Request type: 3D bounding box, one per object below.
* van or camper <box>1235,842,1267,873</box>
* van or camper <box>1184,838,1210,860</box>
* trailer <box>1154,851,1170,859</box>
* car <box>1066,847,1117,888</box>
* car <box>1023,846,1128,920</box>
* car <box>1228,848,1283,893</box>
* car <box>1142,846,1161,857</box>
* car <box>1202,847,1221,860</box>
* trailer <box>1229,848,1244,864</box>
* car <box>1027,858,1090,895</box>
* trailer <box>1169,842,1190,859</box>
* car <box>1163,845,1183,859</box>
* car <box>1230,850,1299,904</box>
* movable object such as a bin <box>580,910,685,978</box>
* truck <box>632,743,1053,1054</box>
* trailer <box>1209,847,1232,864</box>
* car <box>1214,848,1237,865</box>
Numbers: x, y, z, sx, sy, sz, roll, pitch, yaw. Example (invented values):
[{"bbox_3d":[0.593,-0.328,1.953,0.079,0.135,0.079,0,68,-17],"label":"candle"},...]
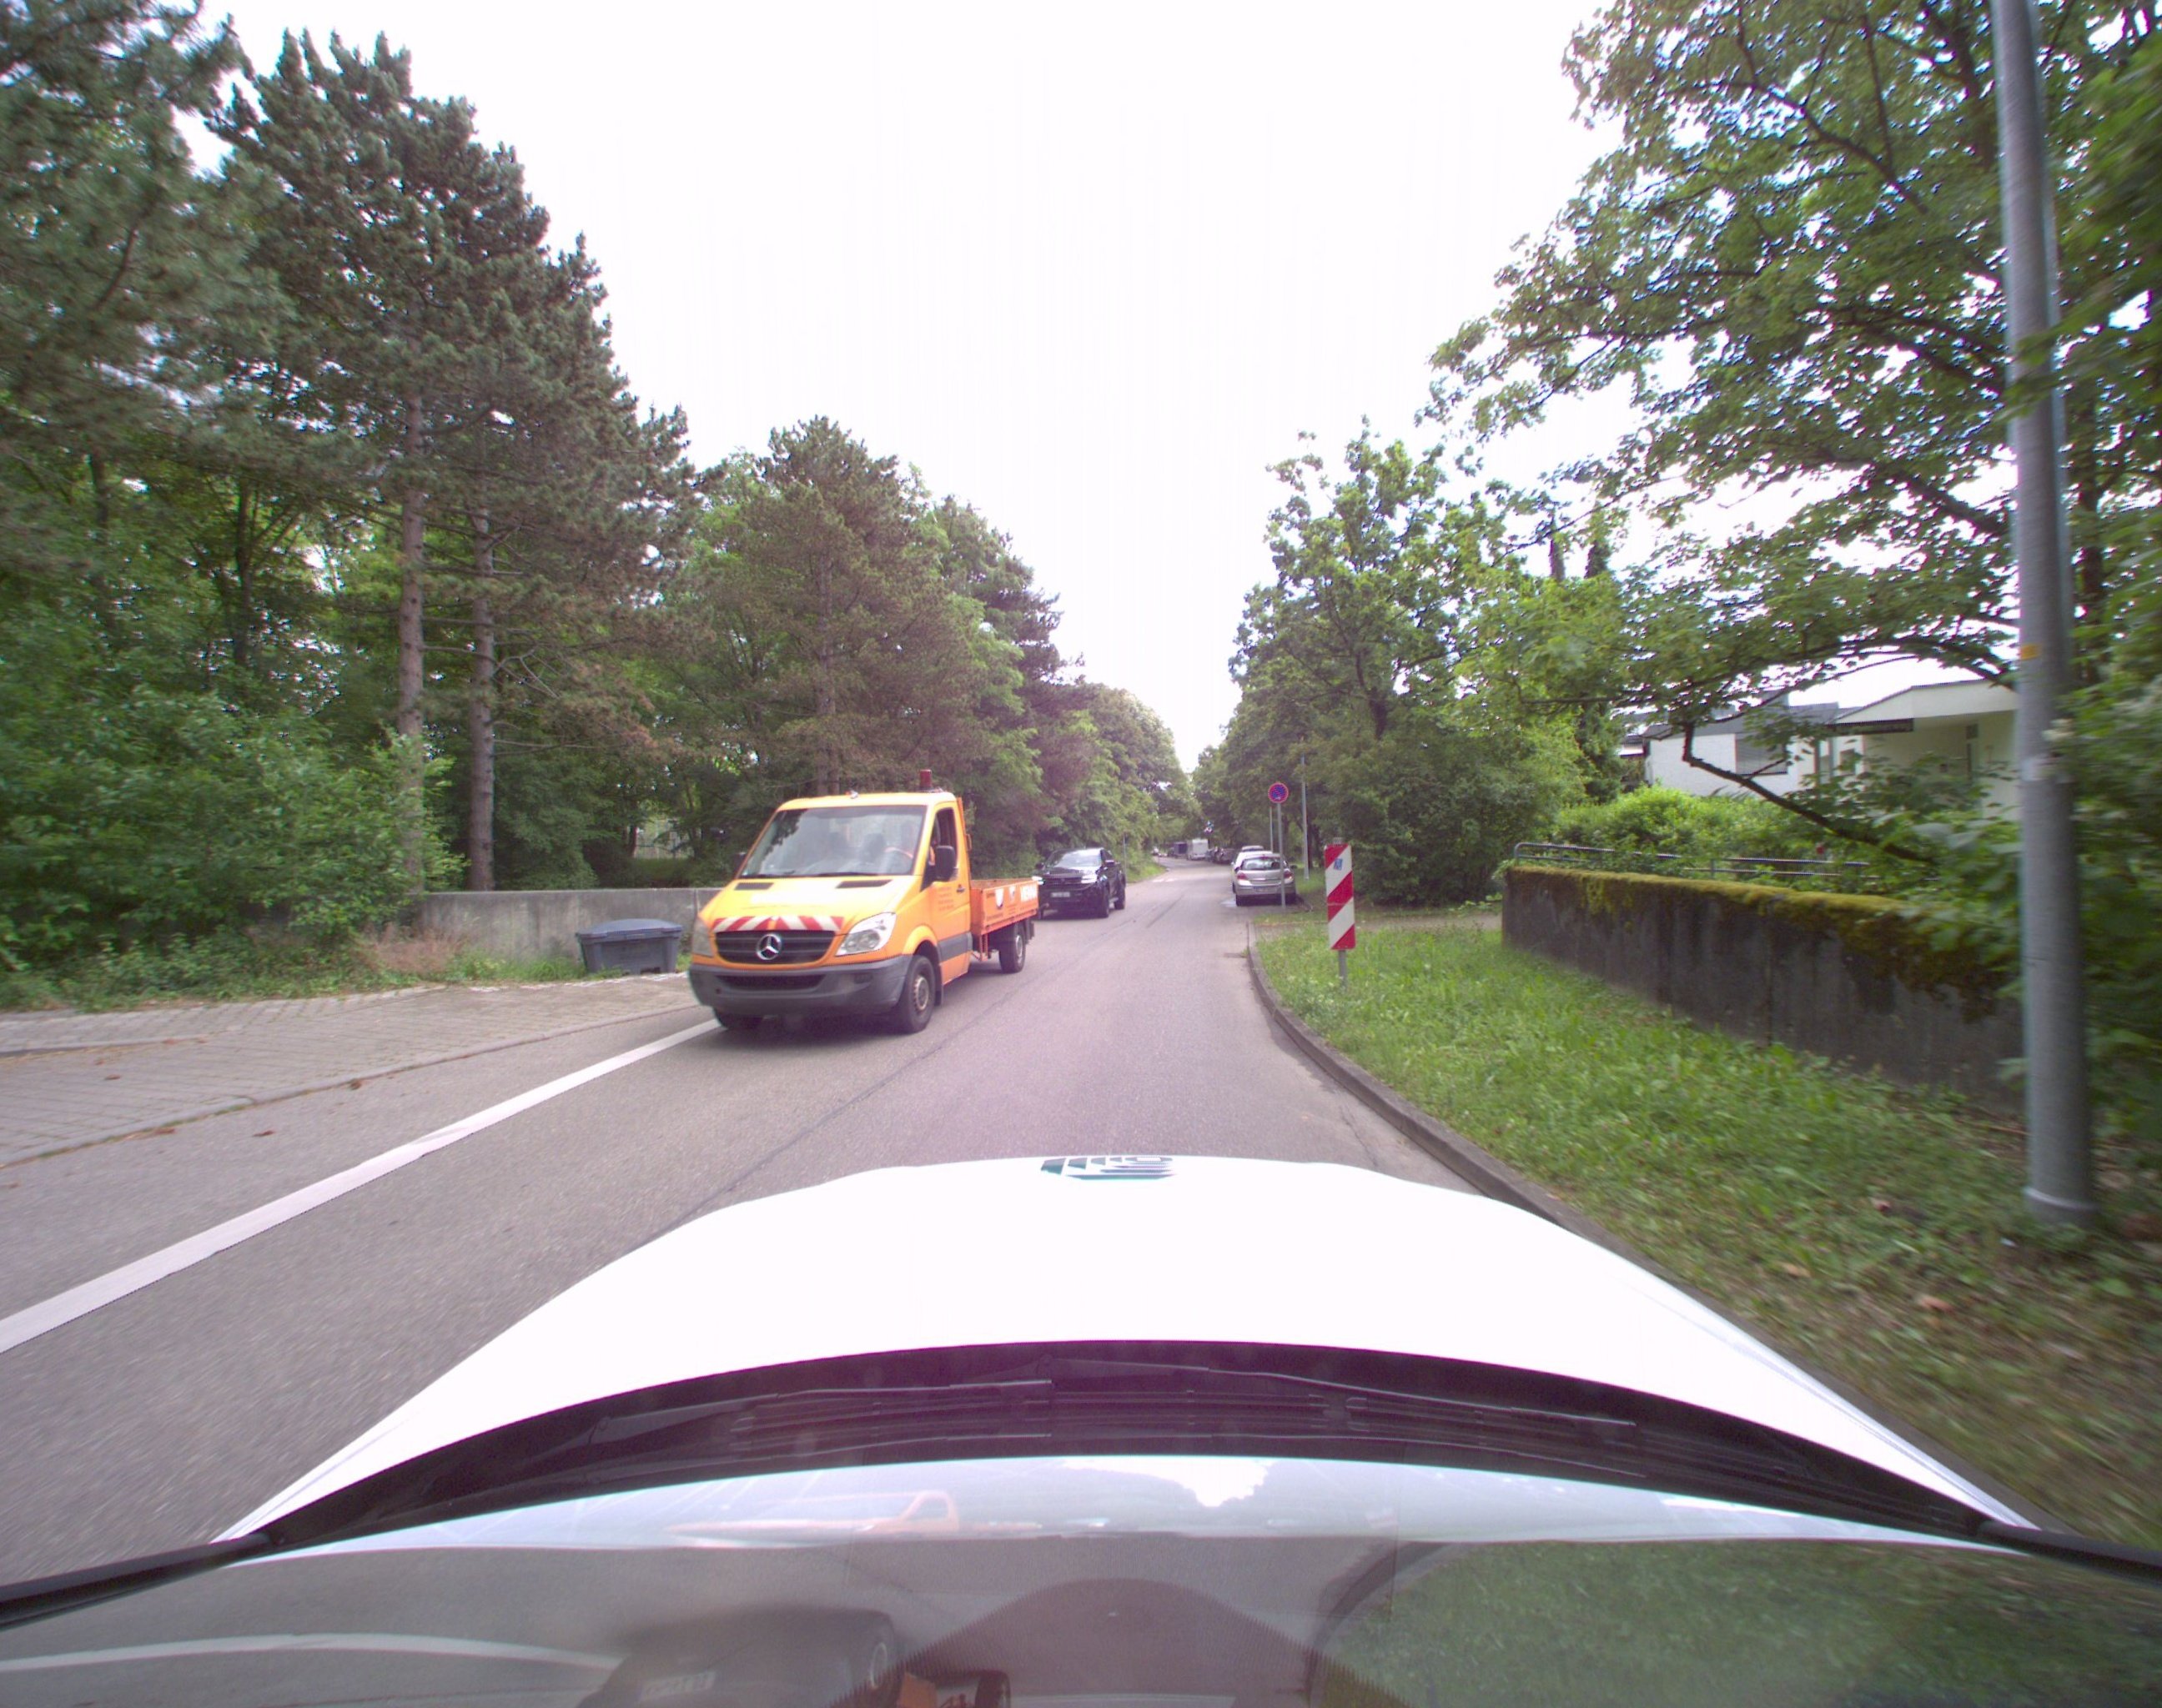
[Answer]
[{"bbox_3d":[11.027,0.261,53.005,1.791,1.838,4.332,-2,-2,10],"label":"van or camper"},{"bbox_3d":[16.343,-0.665,114.998,2.475,2.876,6.885,-2,0,-2],"label":"van or camper"},{"bbox_3d":[13.418,0.138,135.273,1.650,1.086,3.990,-5,1,-7],"label":"trailer"},{"bbox_3d":[0.583,0.639,40.969,1.709,1.921,4.119,0,1,12],"label":"car"},{"bbox_3d":[0.014,0.712,22.531,1.982,1.735,5.350,-2,0,9],"label":"car"},{"bbox_3d":[6.751,0.586,31.844,1.874,1.507,5.191,-3,0,10],"label":"car"},{"bbox_3d":[12.449,-0.517,144.532,2.038,1.803,4.062,-3,1,-15],"label":"car"},{"bbox_3d":[16.783,-0.069,104.578,1.794,1.562,3.835,-3,1,0],"label":"car"},{"bbox_3d":[15.749,0.207,82.501,1.272,1.585,2.464,-2,0,6],"label":"trailer"},{"bbox_3d":[-0.865,0.901,34.488,1.794,1.403,4.384,-1,0,10],"label":"car"},{"bbox_3d":[15.205,-0.538,125.847,1.993,2.398,3.987,-3,0,-9],"label":"trailer"},{"bbox_3d":[14.749,-0.328,131.339,1.994,2.025,3.986,-5,2,-10],"label":"car"},{"bbox_3d":[5.476,0.624,24.488,1.781,1.411,4.072,-3,-1,12],"label":"car"},{"bbox_3d":[-5.859,1.153,10.718,1.150,0.760,1.040,1,-1,-27],"label":"movable object such as a bin"},{"bbox_3d":[-2.095,0.330,9.613,2.308,2.470,6.037,0,0,10],"label":"truck"},{"bbox_3d":[16.278,0.129,95.208,1.971,1.811,5.153,-3,1,3],"label":"trailer"},{"bbox_3d":[15.749,0.290,88.822,1.785,1.670,4.503,-3,-1,1],"label":"car"}]
